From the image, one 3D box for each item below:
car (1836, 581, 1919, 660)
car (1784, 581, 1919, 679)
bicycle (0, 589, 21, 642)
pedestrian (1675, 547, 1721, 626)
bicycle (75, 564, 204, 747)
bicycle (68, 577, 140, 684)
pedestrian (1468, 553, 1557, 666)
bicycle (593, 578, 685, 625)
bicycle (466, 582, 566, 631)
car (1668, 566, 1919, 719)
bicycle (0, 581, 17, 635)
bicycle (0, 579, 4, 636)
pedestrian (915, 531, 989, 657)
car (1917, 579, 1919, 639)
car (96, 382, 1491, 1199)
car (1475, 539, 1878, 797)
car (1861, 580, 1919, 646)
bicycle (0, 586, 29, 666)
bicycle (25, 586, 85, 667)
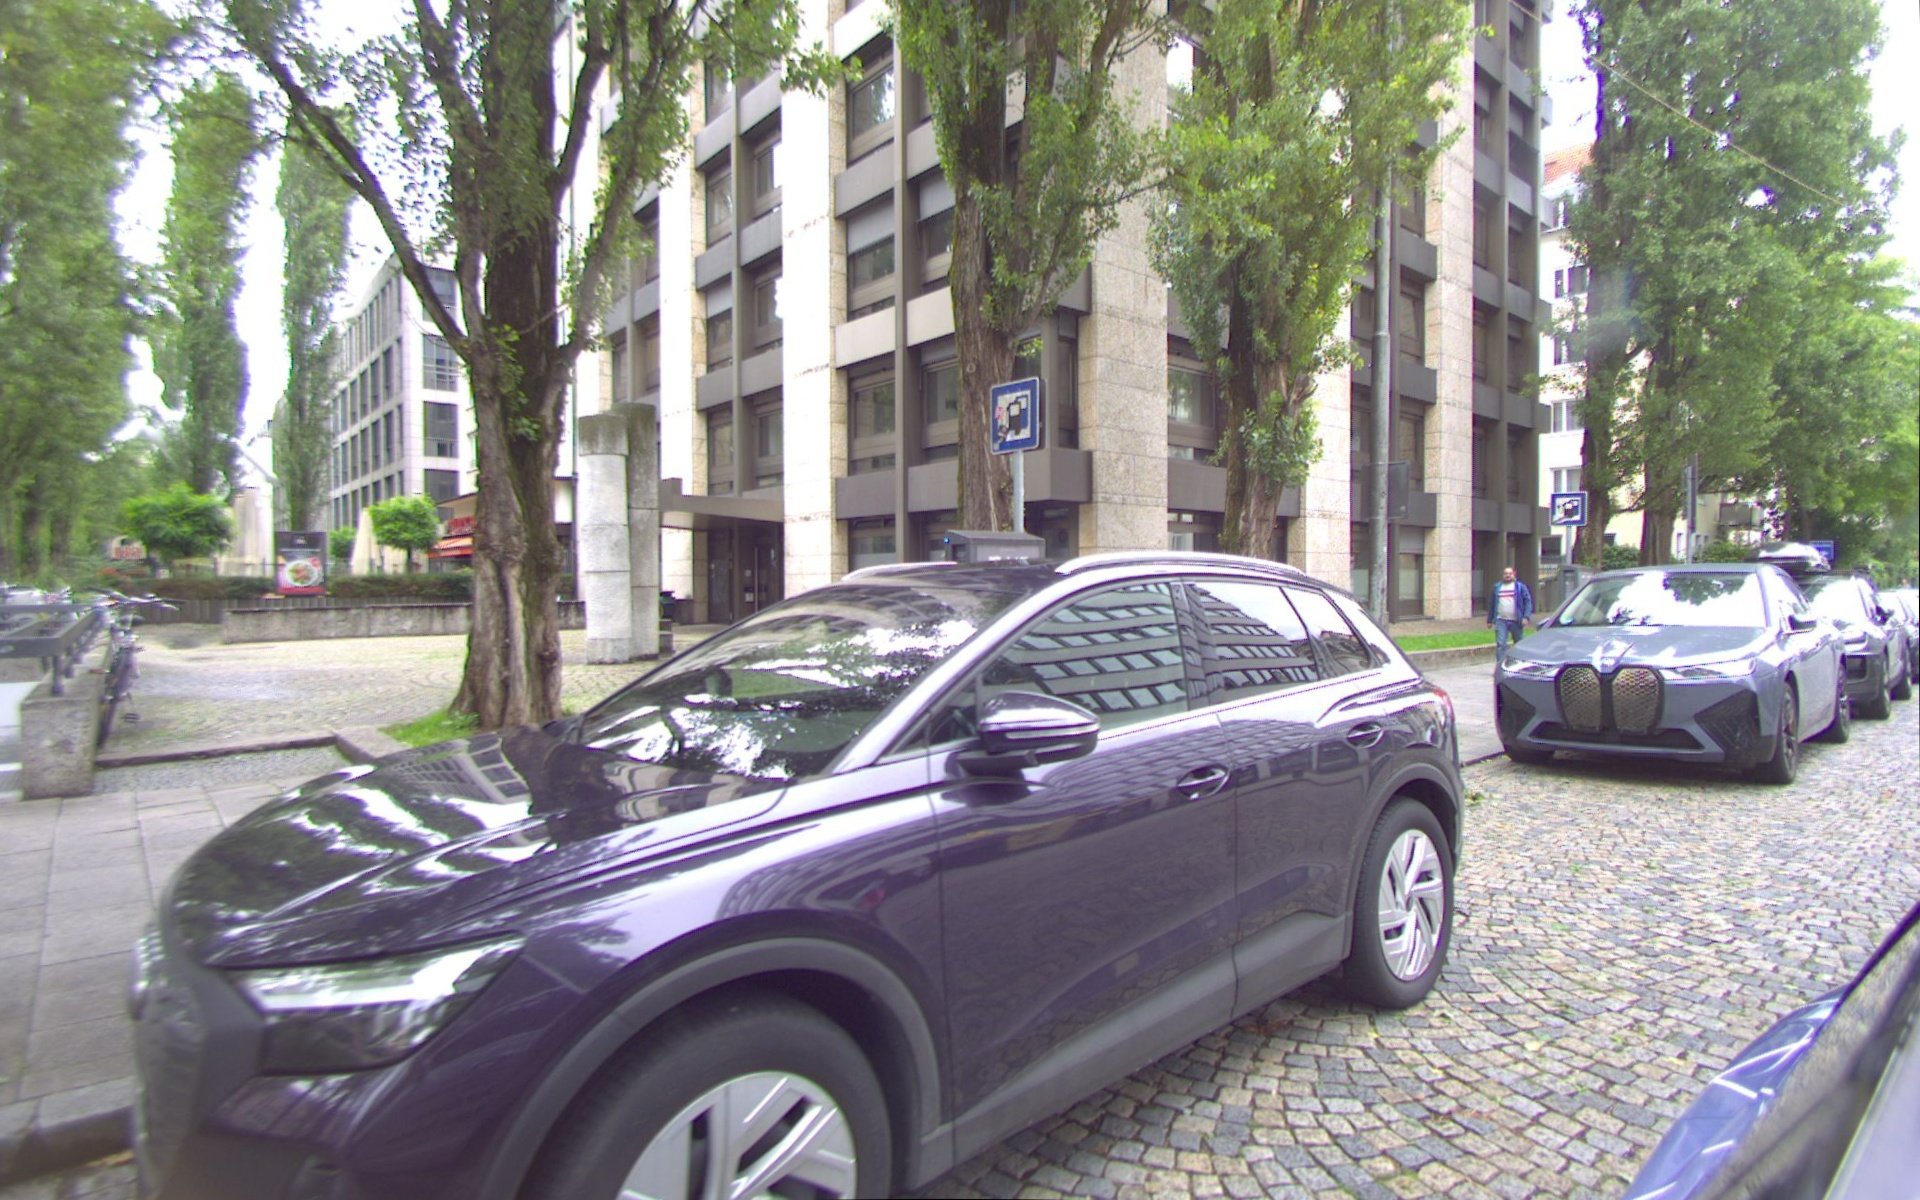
[{"bbox_3d":[18.712,0.361,20.021,3.501,1.449,1.602,-1,-1,-42],"label":"car"},{"bbox_3d":[15.270,0.428,16.926,4.135,1.407,1.721,-2,0,-43],"label":"car"},{"bbox_3d":[-21.972,0.351,22.276,1.835,1.174,0.587,-1,1,-38],"label":"bicycle"},{"bbox_3d":[15.036,-0.282,20.629,0.697,1.556,0.644,-1,1,-44],"label":"pedestrian"},{"bbox_3d":[-6.541,0.372,8.102,0.709,1.292,1.867,-1,1,-39],"label":"bicycle"},{"bbox_3d":[-10.180,0.322,12.071,0.577,1.174,1.867,-1,1,-38],"label":"bicycle"},{"bbox_3d":[8.773,0.133,16.096,0.893,1.735,0.871,-1,1,-21],"label":"pedestrian"},{"bbox_3d":[-8.351,0.021,26.413,2.207,1.170,0.647,-1,1,-41],"label":"bicycle"},{"bbox_3d":[-11.087,0.144,25.339,2.207,1.170,0.647,-1,1,-41],"label":"bicycle"},{"bbox_3d":[10.696,0.395,12.784,4.268,1.602,1.996,-1,1,-42],"label":"car"},{"bbox_3d":[-21.614,0.195,21.812,1.835,1.174,0.587,-1,1,-38],"label":"bicycle"},{"bbox_3d":[-20.592,0.172,20.305,1.995,1.174,0.587,-1,1,-38],"label":"bicycle"},{"bbox_3d":[-0.113,-0.087,13.545,0.707,1.626,0.709,-1,1,-37],"label":"pedestrian"},{"bbox_3d":[26.407,0.173,26.411,3.810,1.518,1.864,-2,0,-44],"label":"car"},{"bbox_3d":[-0.078,0.557,3.312,4.130,1.721,1.923,-2,1,-42],"label":"car"},{"bbox_3d":[6.572,0.403,9.056,4.594,1.721,2.015,-2,1,-42],"label":"car"},{"bbox_3d":[22.324,0.262,23.242,3.807,1.405,1.996,-2,0,-42],"label":"car"},{"bbox_3d":[-14.829,0.370,15.577,0.577,1.174,1.867,-1,1,-38],"label":"bicycle"},{"bbox_3d":[-14.064,0.372,15.759,0.577,1.174,1.867,-1,1,-38],"label":"bicycle"}]
